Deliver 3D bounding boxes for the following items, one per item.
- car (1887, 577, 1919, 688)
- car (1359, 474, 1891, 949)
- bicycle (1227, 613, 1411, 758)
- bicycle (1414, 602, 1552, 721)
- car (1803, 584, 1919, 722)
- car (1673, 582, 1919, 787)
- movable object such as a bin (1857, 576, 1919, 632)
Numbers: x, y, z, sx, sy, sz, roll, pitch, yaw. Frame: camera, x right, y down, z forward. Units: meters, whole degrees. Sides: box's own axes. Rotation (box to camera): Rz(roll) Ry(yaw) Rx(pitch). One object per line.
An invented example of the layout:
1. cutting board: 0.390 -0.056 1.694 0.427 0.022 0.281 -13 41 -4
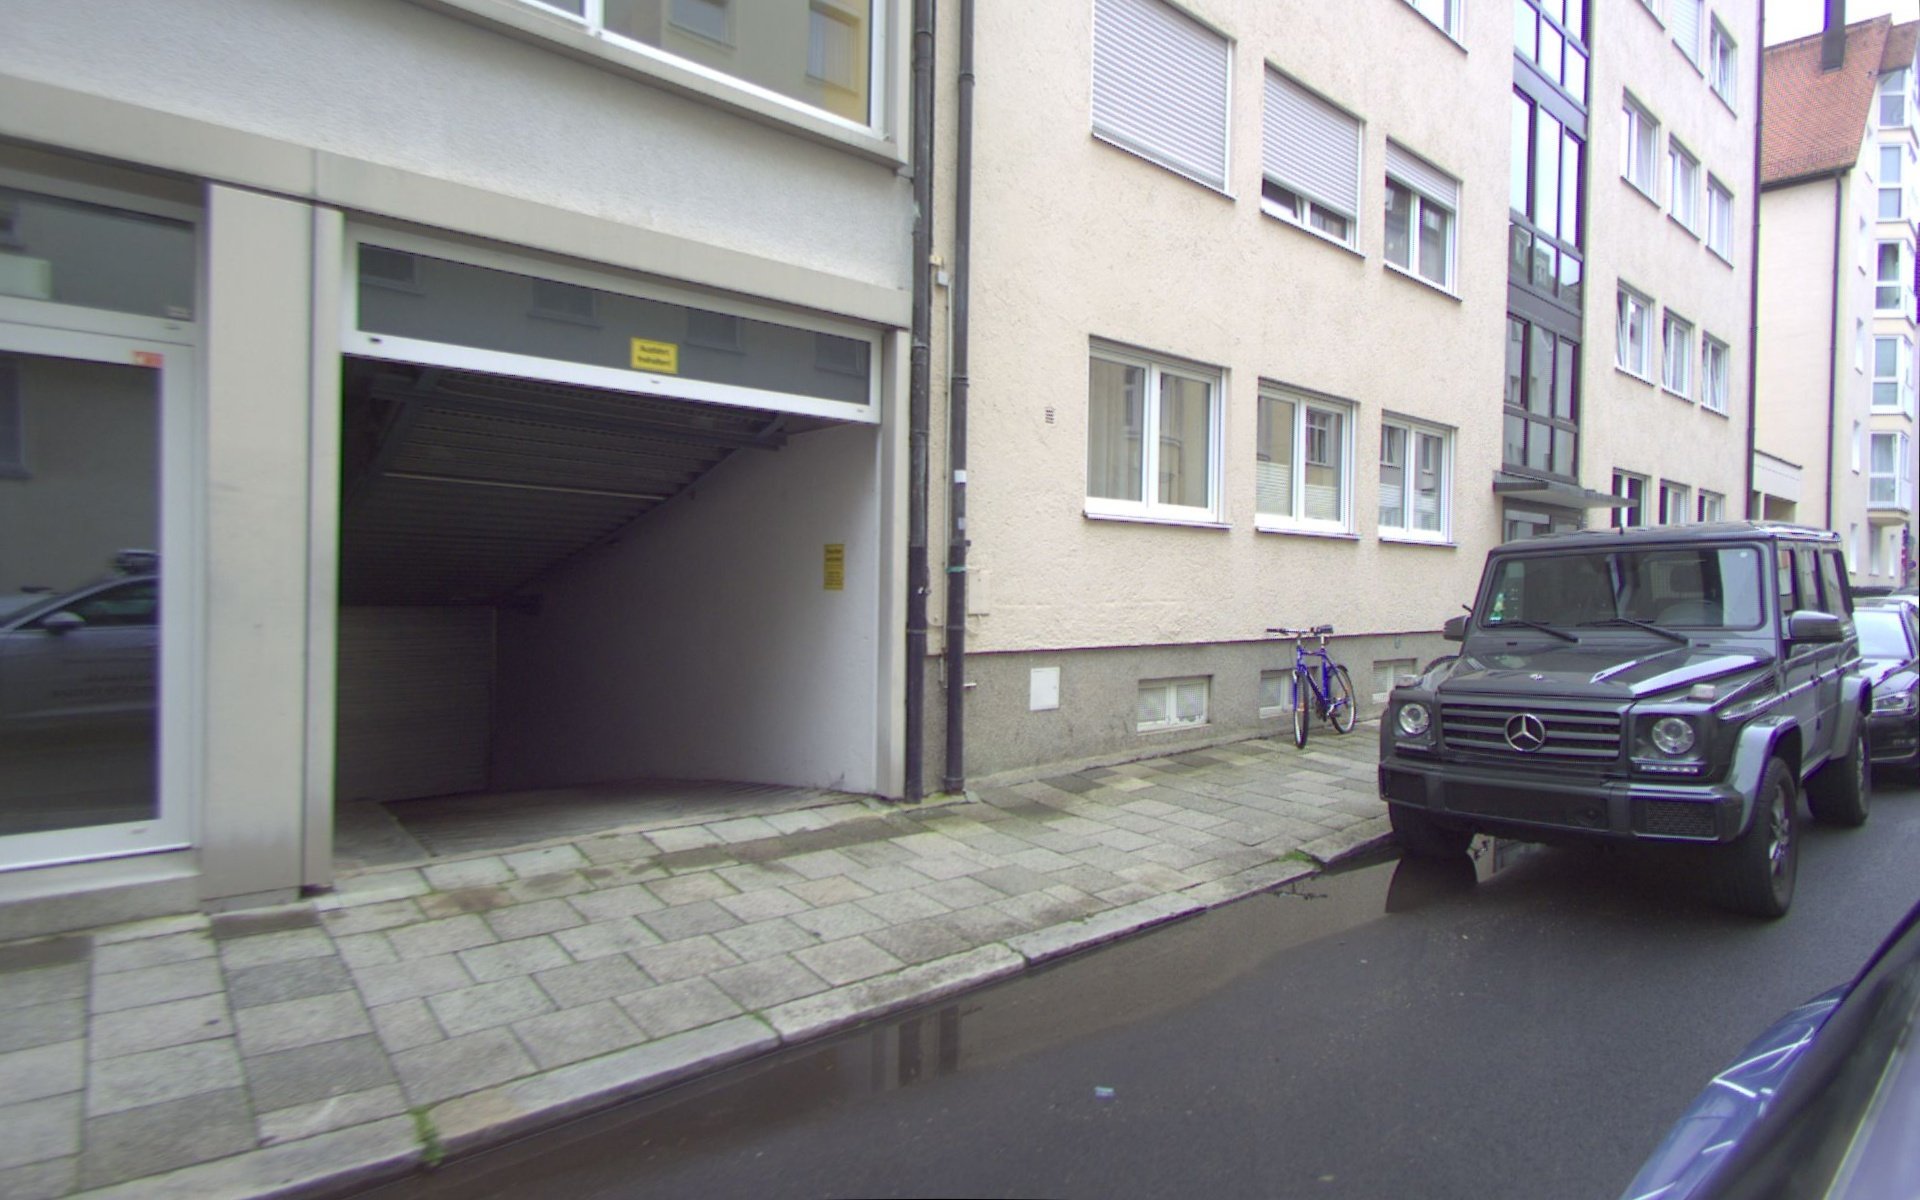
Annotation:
1. car: 16.013 0.453 15.971 4.173 1.628 1.713 -1 1 -43
2. car: 4.378 0.479 6.362 4.268 2.001 1.753 0 -1 -42
3. bicycle: 3.139 0.683 8.776 1.765 1.041 0.646 -1 5 -41
4. bicycle: 5.704 0.619 11.006 1.729 1.119 0.656 -1 5 -41
5. car: 12.106 0.563 12.750 4.172 1.504 1.714 -1 1 -42
6. car: 8.201 0.593 9.399 4.172 1.504 1.714 -1 1 -42
7. movable object such as a bin: 25.226 0.084 27.458 1.559 1.440 1.035 -1 4 -40
